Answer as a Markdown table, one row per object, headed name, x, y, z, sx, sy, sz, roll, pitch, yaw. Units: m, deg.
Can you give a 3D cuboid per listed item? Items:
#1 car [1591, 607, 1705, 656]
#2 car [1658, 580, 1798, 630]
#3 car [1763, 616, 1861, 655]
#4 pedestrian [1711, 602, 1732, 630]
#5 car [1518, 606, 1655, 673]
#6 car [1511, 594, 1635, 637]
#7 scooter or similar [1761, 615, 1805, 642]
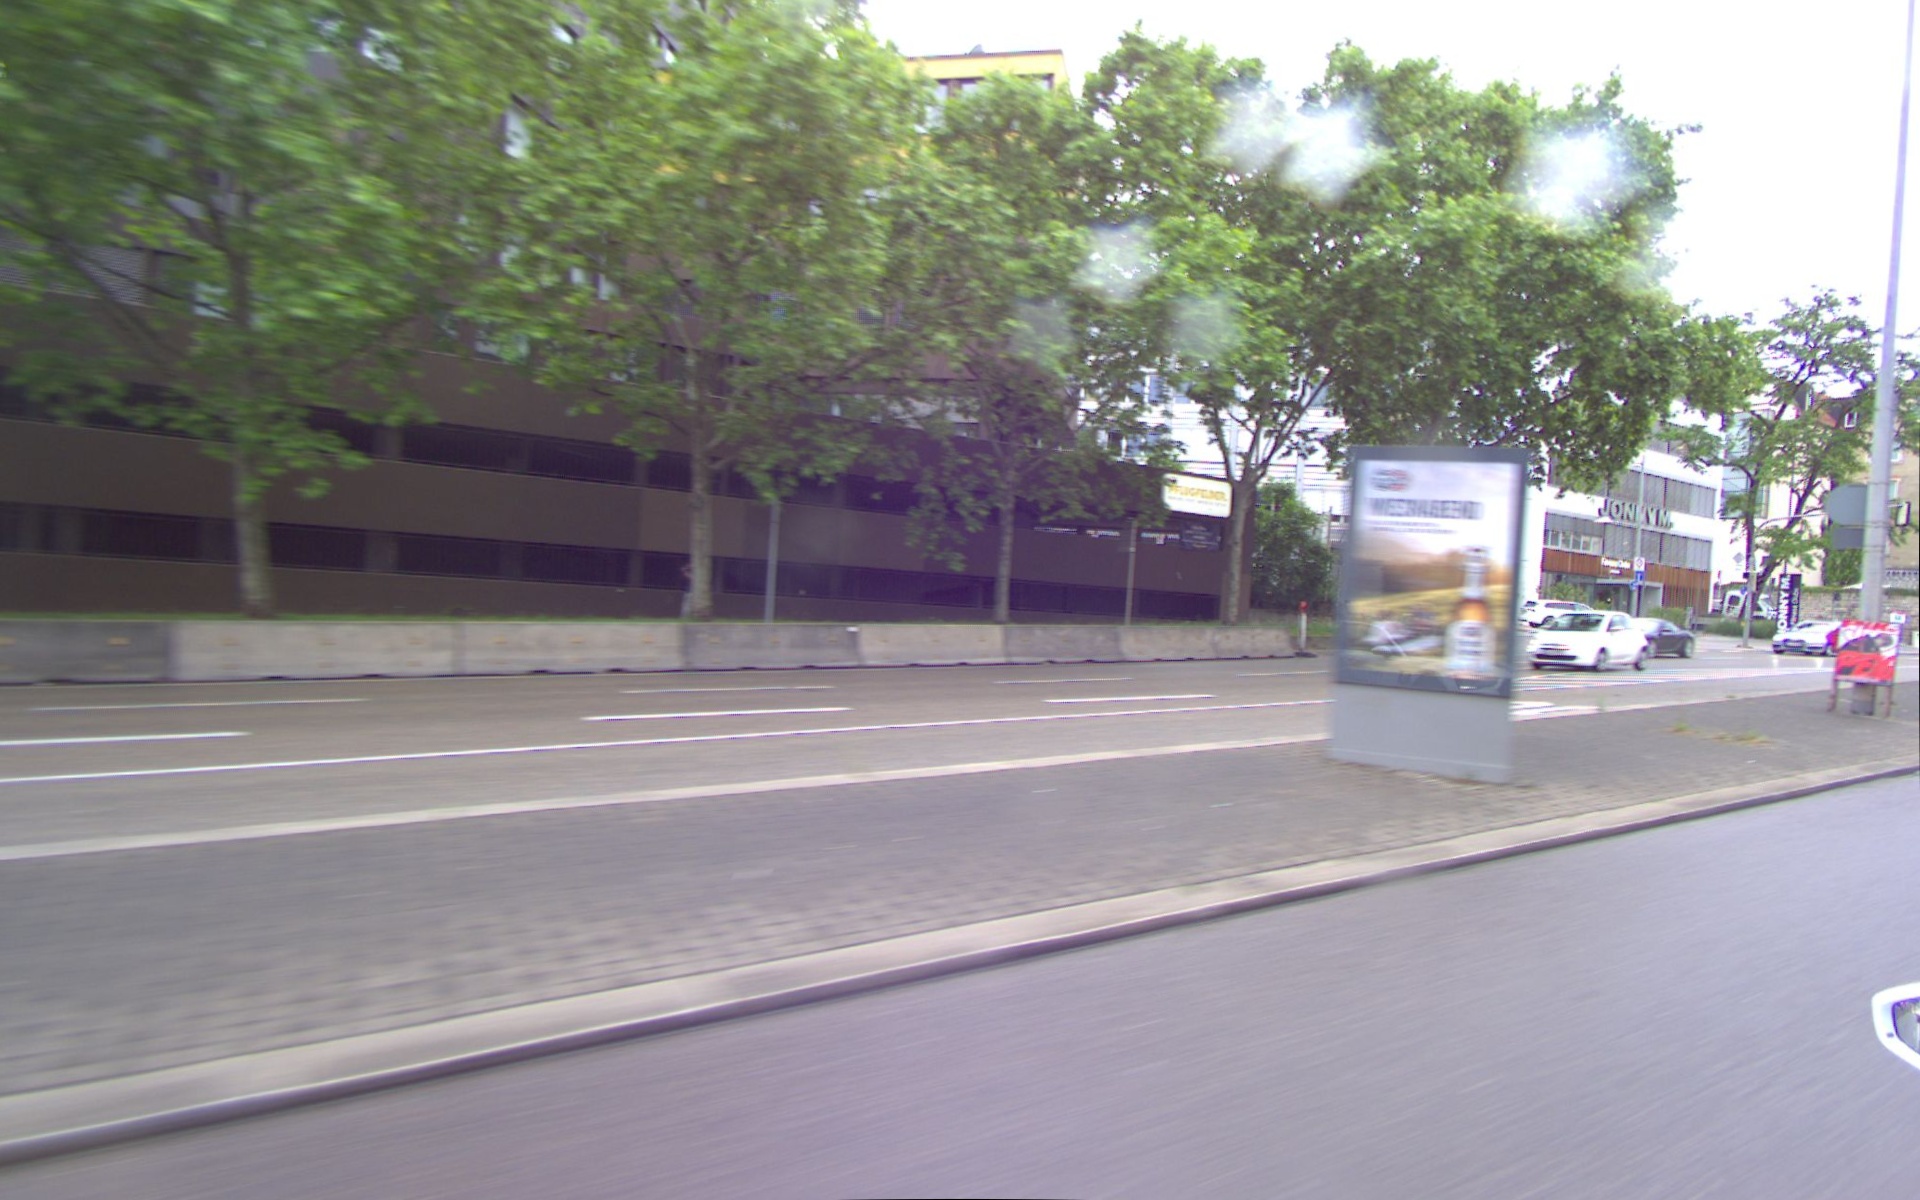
| name | x | y | z | sx | sy | sz | roll | pitch | yaw |
| --- | --- | --- | --- | --- | --- | --- | --- | --- | --- |
| car | 23.337 | 1.057 | 34.038 | 4.126 | 1.539 | 1.743 | 1 | 0 | -34 |
| car | 51.675 | 0.284 | 67.814 | 2.483 | 2.307 | 6.870 | -1 | 9 | -28 |
| car | 35.191 | 1.440 | 41.452 | 4.834 | 1.466 | 1.980 | 2 | 0 | -36 |
| pedestrian | 46.035 | 0.946 | 60.718 | 0.832 | 1.663 | 0.764 | 1 | 0 | -31 |
| car | 15.877 | 0.975 | 25.409 | 3.707 | 1.539 | 1.740 | 2 | 0 | -38 |
| car | 30.658 | 0.771 | 50.376 | 4.746 | 1.676 | 2.001 | 5 | 2 | 8 |
| scooter or similar | 45.034 | 1.542 | 54.954 | 1.725 | 1.263 | 0.369 | 6 | 3 | 31 |
